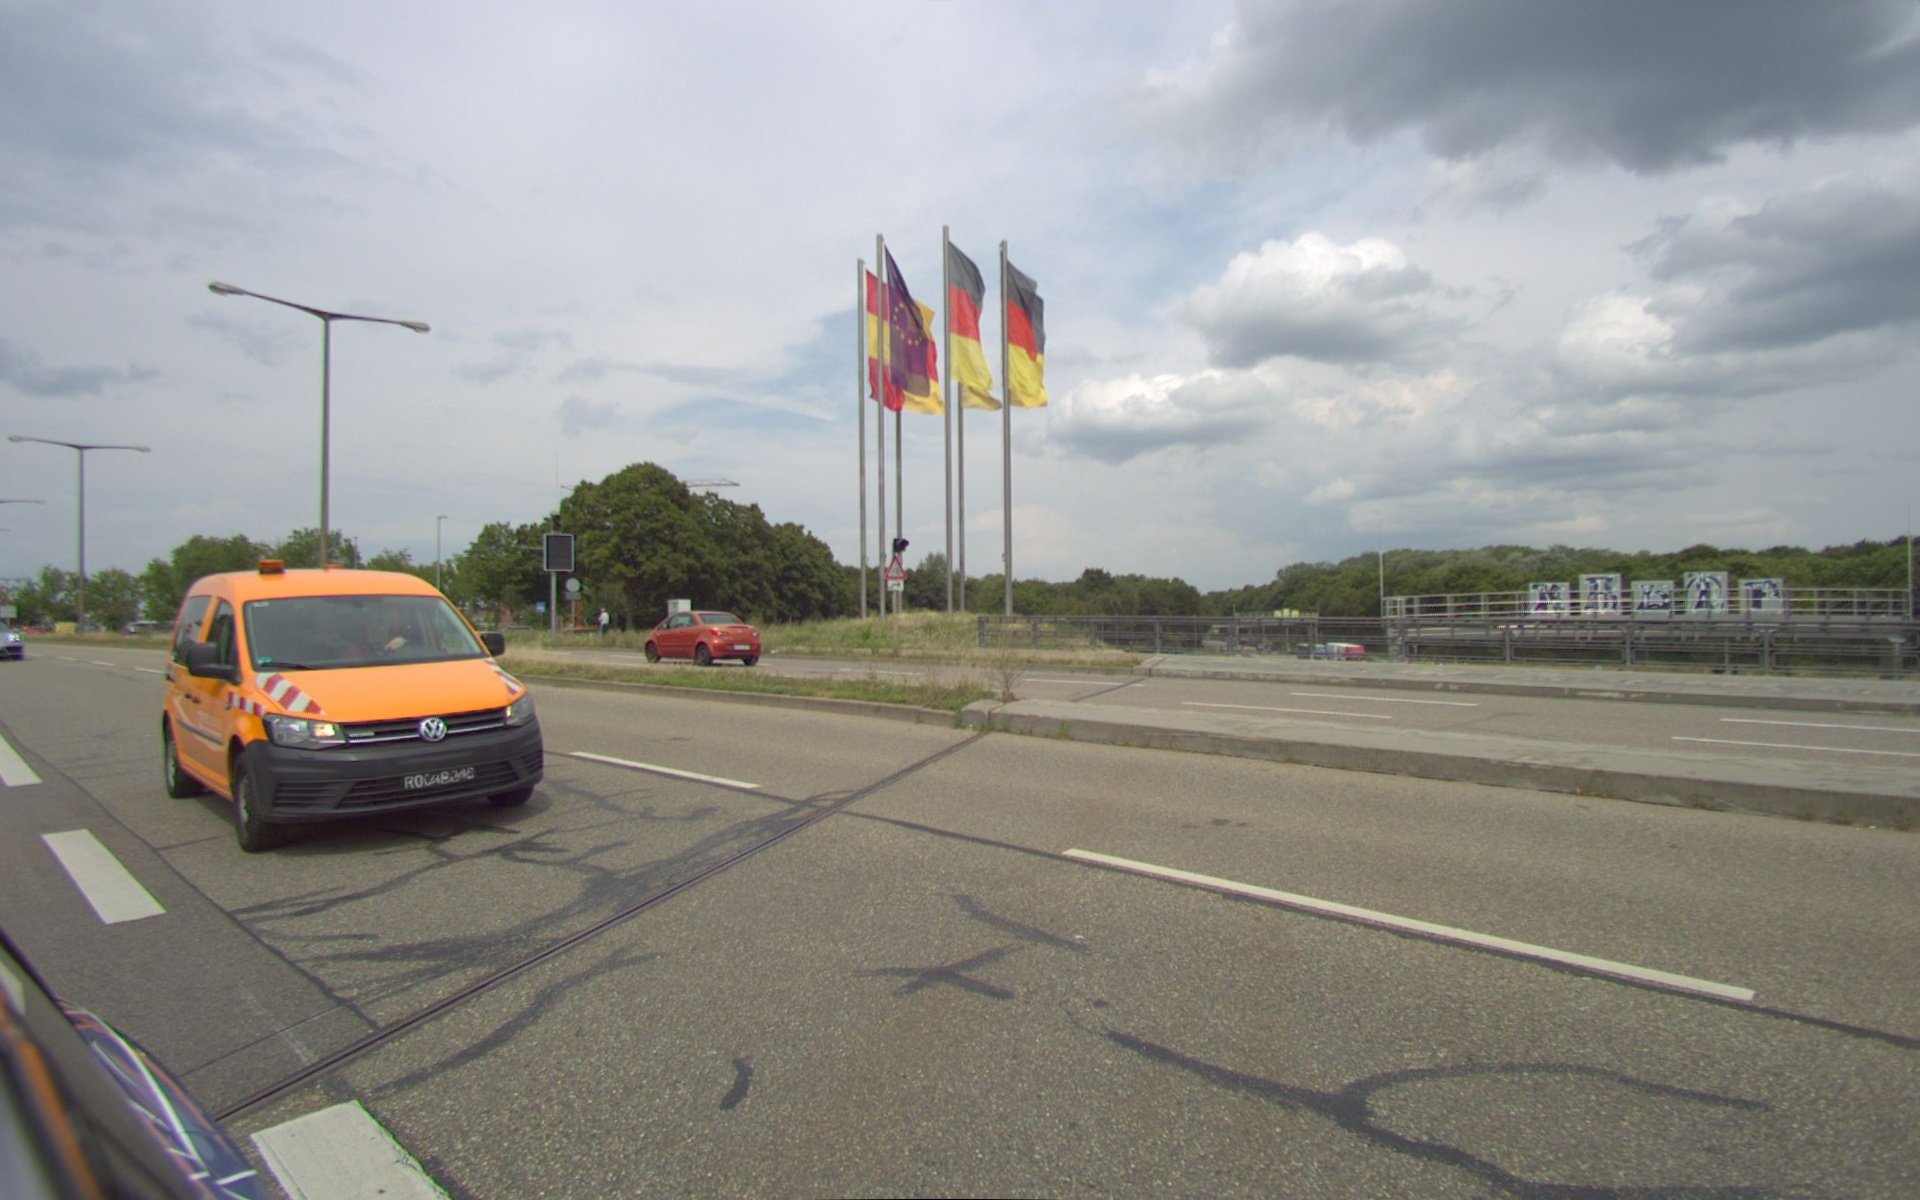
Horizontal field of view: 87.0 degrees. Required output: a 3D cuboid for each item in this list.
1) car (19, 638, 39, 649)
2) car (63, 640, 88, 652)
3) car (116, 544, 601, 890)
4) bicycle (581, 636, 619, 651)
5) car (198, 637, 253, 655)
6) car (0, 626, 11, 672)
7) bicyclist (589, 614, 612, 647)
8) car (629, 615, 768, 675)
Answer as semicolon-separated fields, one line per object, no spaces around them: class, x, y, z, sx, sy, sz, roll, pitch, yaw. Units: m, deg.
car;-114.909;5.327;124.893;3.468;1.246;1.449;-2;-1;42
car;-96.943;5.000;110.935;3.468;1.246;1.673;-2;-1;42
car;-4.702;0.673;7.595;4.429;1.849;1.868;-2;-1;42
bicycle;-17.641;2.129;49.542;2.222;0.739;0.809;-2;-2;43
car;-66.418;4.170;91.539;3.583;1.476;1.699;-2;-1;-8
car;-31.204;1.565;31.723;3.681;1.422;1.674;-2;-1;40
bicyclist;-17.603;1.494;49.537;0.737;1.604;0.809;-2;-2;43
car;-7.105;1.219;27.288;3.997;1.505;1.673;-2;-3;41
